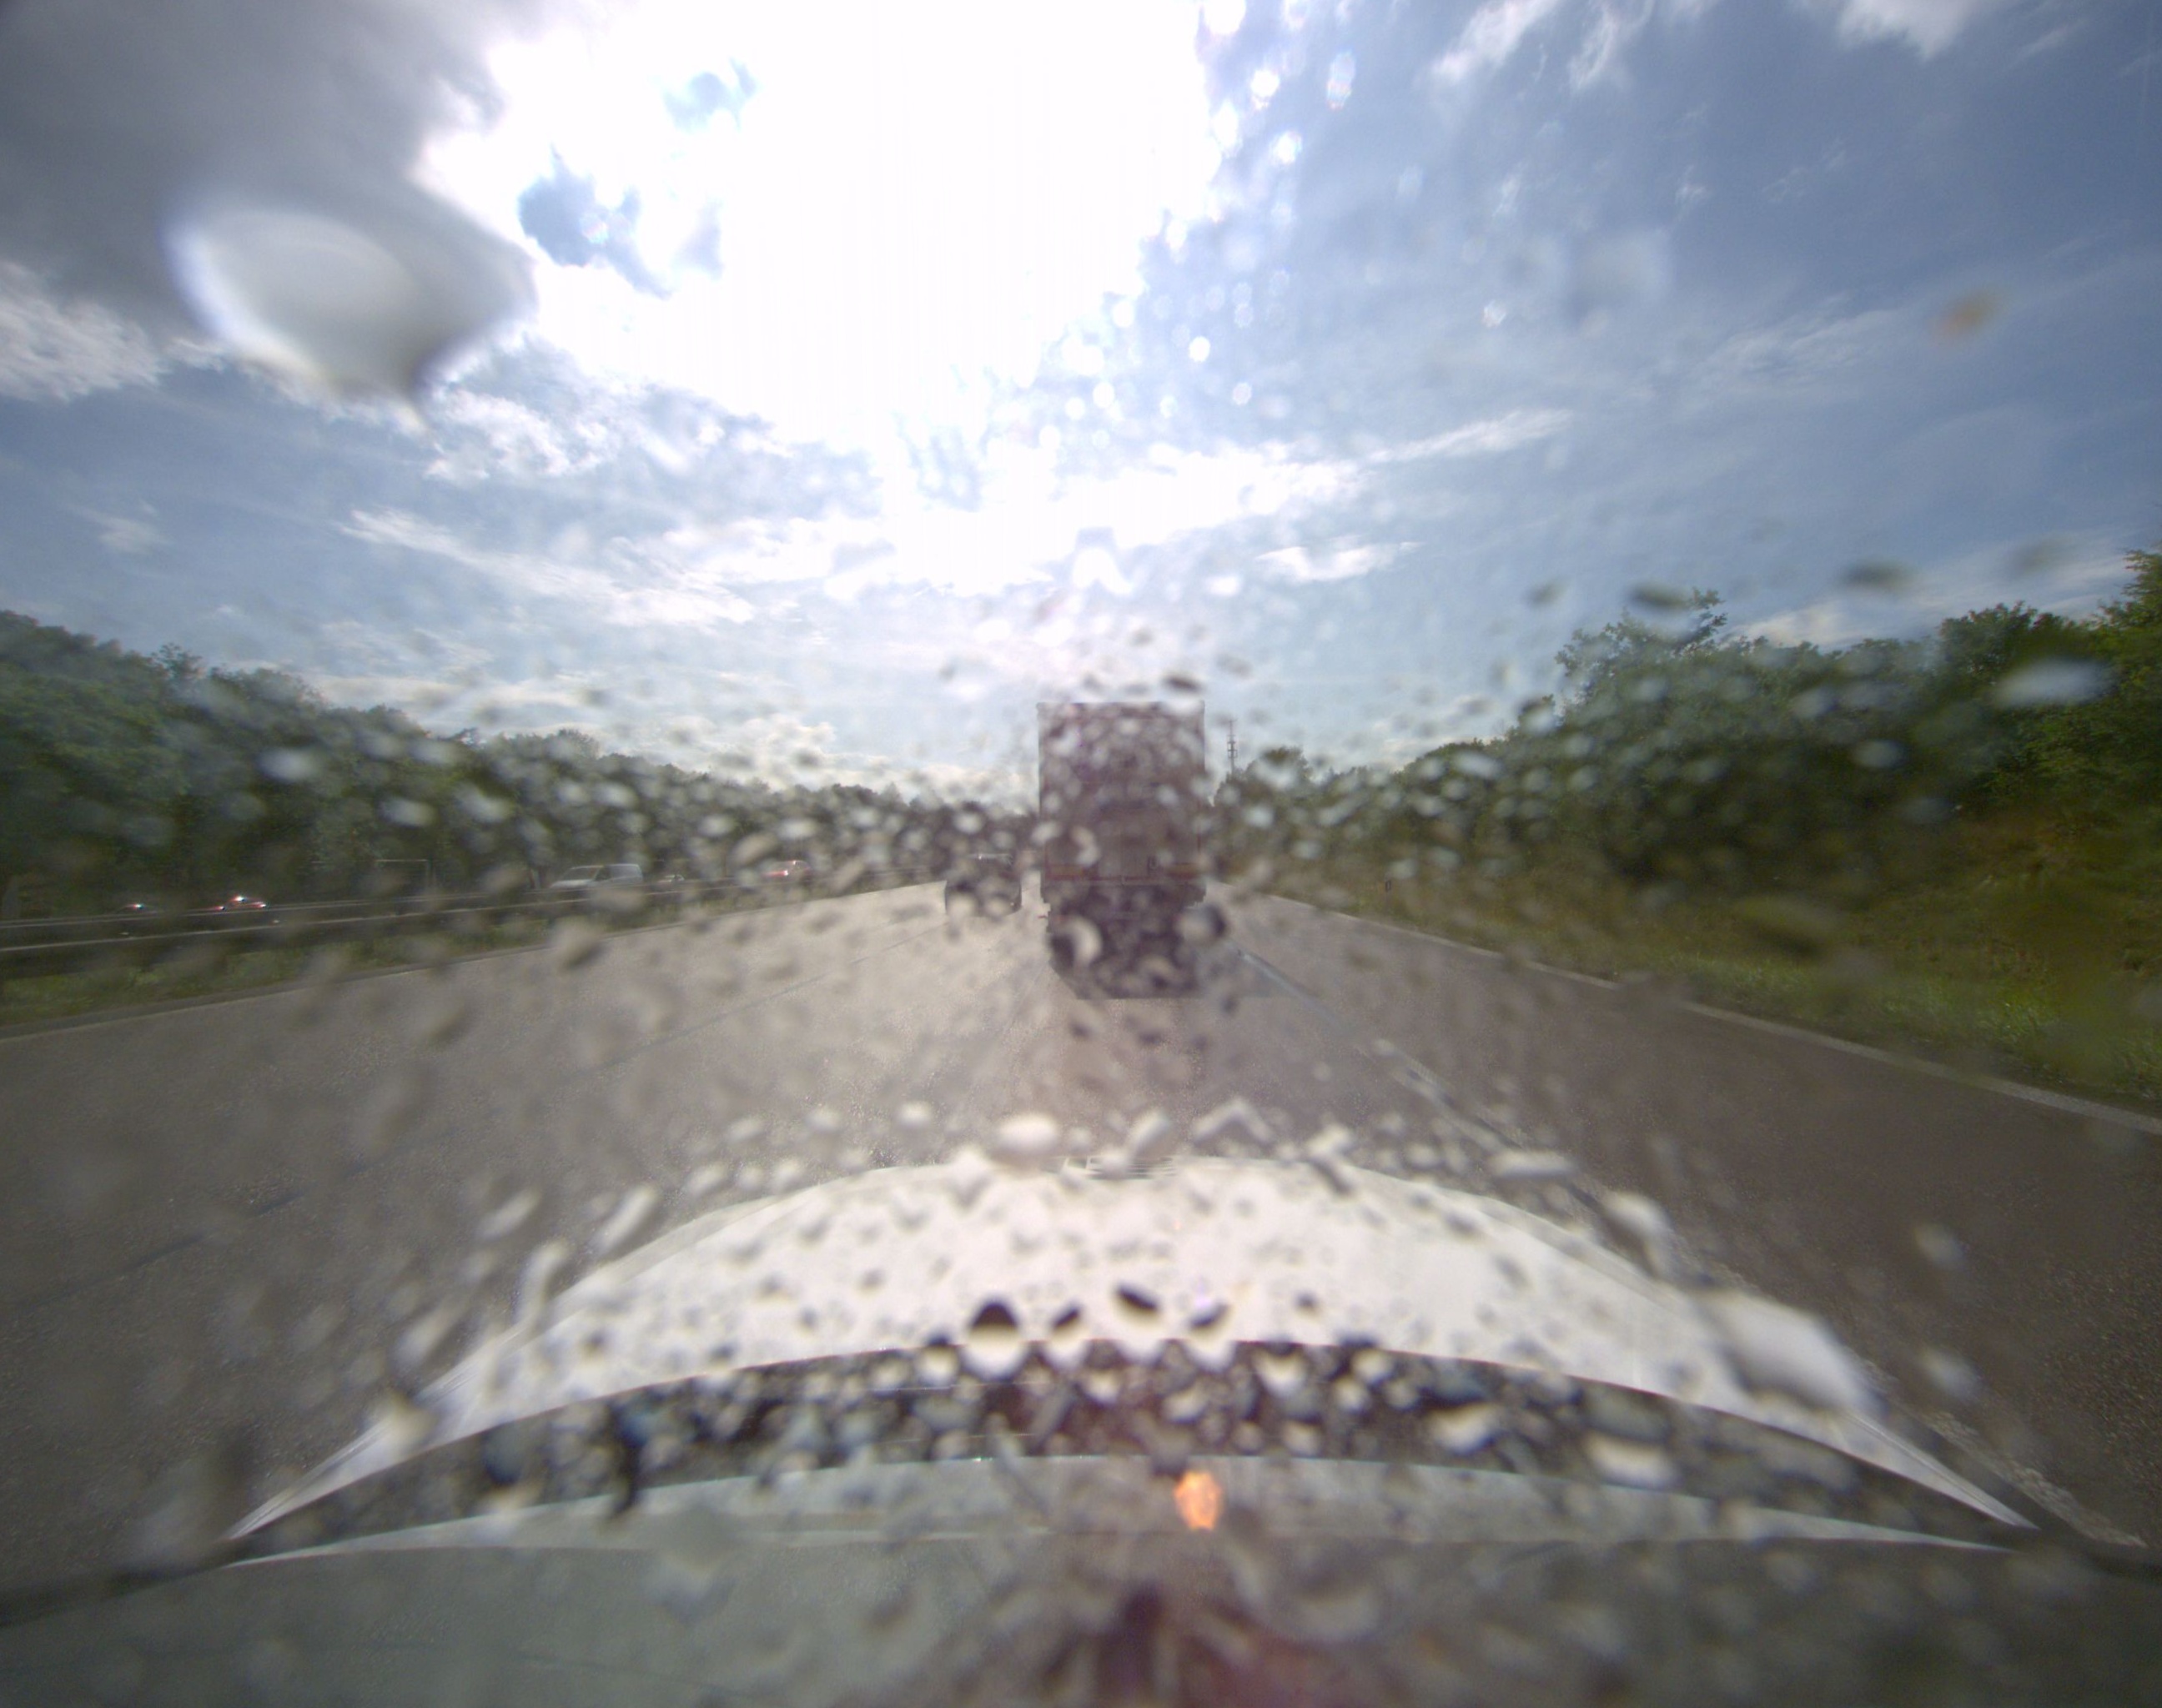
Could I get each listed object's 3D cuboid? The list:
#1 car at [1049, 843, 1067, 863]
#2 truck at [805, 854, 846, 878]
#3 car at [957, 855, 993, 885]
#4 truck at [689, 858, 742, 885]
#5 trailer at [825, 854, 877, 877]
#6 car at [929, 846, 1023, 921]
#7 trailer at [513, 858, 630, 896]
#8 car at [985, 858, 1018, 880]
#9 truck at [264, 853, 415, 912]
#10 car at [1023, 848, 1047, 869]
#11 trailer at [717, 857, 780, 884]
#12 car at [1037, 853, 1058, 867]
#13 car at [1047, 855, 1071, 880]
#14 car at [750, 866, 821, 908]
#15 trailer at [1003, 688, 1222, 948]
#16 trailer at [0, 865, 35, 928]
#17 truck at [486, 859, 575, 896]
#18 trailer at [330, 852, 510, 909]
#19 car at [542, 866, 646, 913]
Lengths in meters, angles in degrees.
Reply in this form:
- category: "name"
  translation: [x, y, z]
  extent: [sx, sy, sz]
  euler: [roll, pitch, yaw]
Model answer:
- category: "car"
  translation: [-3.010, -0.055, 109.577]
  extent: [1.985, 2.615, 5.263]
  euler: [0, -1, 3]
- category: "truck"
  translation: [-45.450, 2.070, 145.277]
  extent: [3.759, 4.117, 7.074]
  euler: [0, -1, 16]
- category: "car"
  translation: [-6.663, 0.984, 51.358]
  extent: [1.687, 1.805, 3.976]
  euler: [0, -1, 1]
- category: "truck"
  translation: [-51.645, 2.403, 115.266]
  extent: [3.767, 3.660, 6.719]
  euler: [0, -1, 7]
- category: "trailer"
  translation: [-43.133, 2.137, 153.422]
  extent: [3.759, 4.117, 11.774]
  euler: [0, -1, 16]
- category: "car"
  translation: [-2.927, 0.806, 23.807]
  extent: [2.268, 1.954, 4.817]
  euler: [0, -1, -2]
- category: "trailer"
  translation: [-55.370, 2.352, 89.306]
  extent: [3.773, 3.649, 13.356]
  euler: [-2, 0, 3]
- category: "car"
  translation: [-6.297, 1.180, 65.031]
  extent: [1.901, 1.636, 4.620]
  euler: [-2, -1, 3]
- category: "truck"
  translation: [-57.316, 2.117, 63.399]
  extent: [3.772, 4.234, 8.423]
  euler: [0, -1, 3]
- category: "car"
  translation: [-4.688, 0.446, 83.132]
  extent: [1.970, 2.054, 4.760]
  euler: [0, -1, 3]
- category: "trailer"
  translation: [-50.350, 2.427, 123.700]
  extent: [3.766, 3.649, 10.526]
  euler: [-2, 0, 9]
- category: "car"
  translation: [-3.805, 0.717, 93.103]
  extent: [1.985, 1.565, 4.760]
  euler: [0, -1, 3]
- category: "car"
  translation: [-1.627, 0.997, 61.924]
  extent: [1.687, 1.805, 3.976]
  euler: [0, -1, 1]
- category: "car"
  translation: [-15.473, 1.677, 42.894]
  extent: [1.823, 2.045, 4.781]
  euler: [0, -1, 2]
- category: "trailer"
  translation: [0.661, -0.533, 19.250]
  extent: [3.272, 3.898, 14.132]
  euler: [0, 0, 1]
- category: "trailer"
  translation: [-56.901, 2.212, 36.704]
  extent: [3.337, 3.216, 12.472]
  euler: [-2, 0, 0]
- category: "truck"
  translation: [-55.740, 2.310, 82.811]
  extent: [3.772, 3.589, 7.359]
  euler: [0, -1, 3]
- category: "trailer"
  translation: [-56.961, 2.117, 71.090]
  extent: [3.773, 4.405, 13.812]
  euler: [-2, 0, 3]
- category: "car"
  translation: [-22.527, 1.586, 37.947]
  extent: [1.823, 2.045, 4.781]
  euler: [0, -1, 2]
